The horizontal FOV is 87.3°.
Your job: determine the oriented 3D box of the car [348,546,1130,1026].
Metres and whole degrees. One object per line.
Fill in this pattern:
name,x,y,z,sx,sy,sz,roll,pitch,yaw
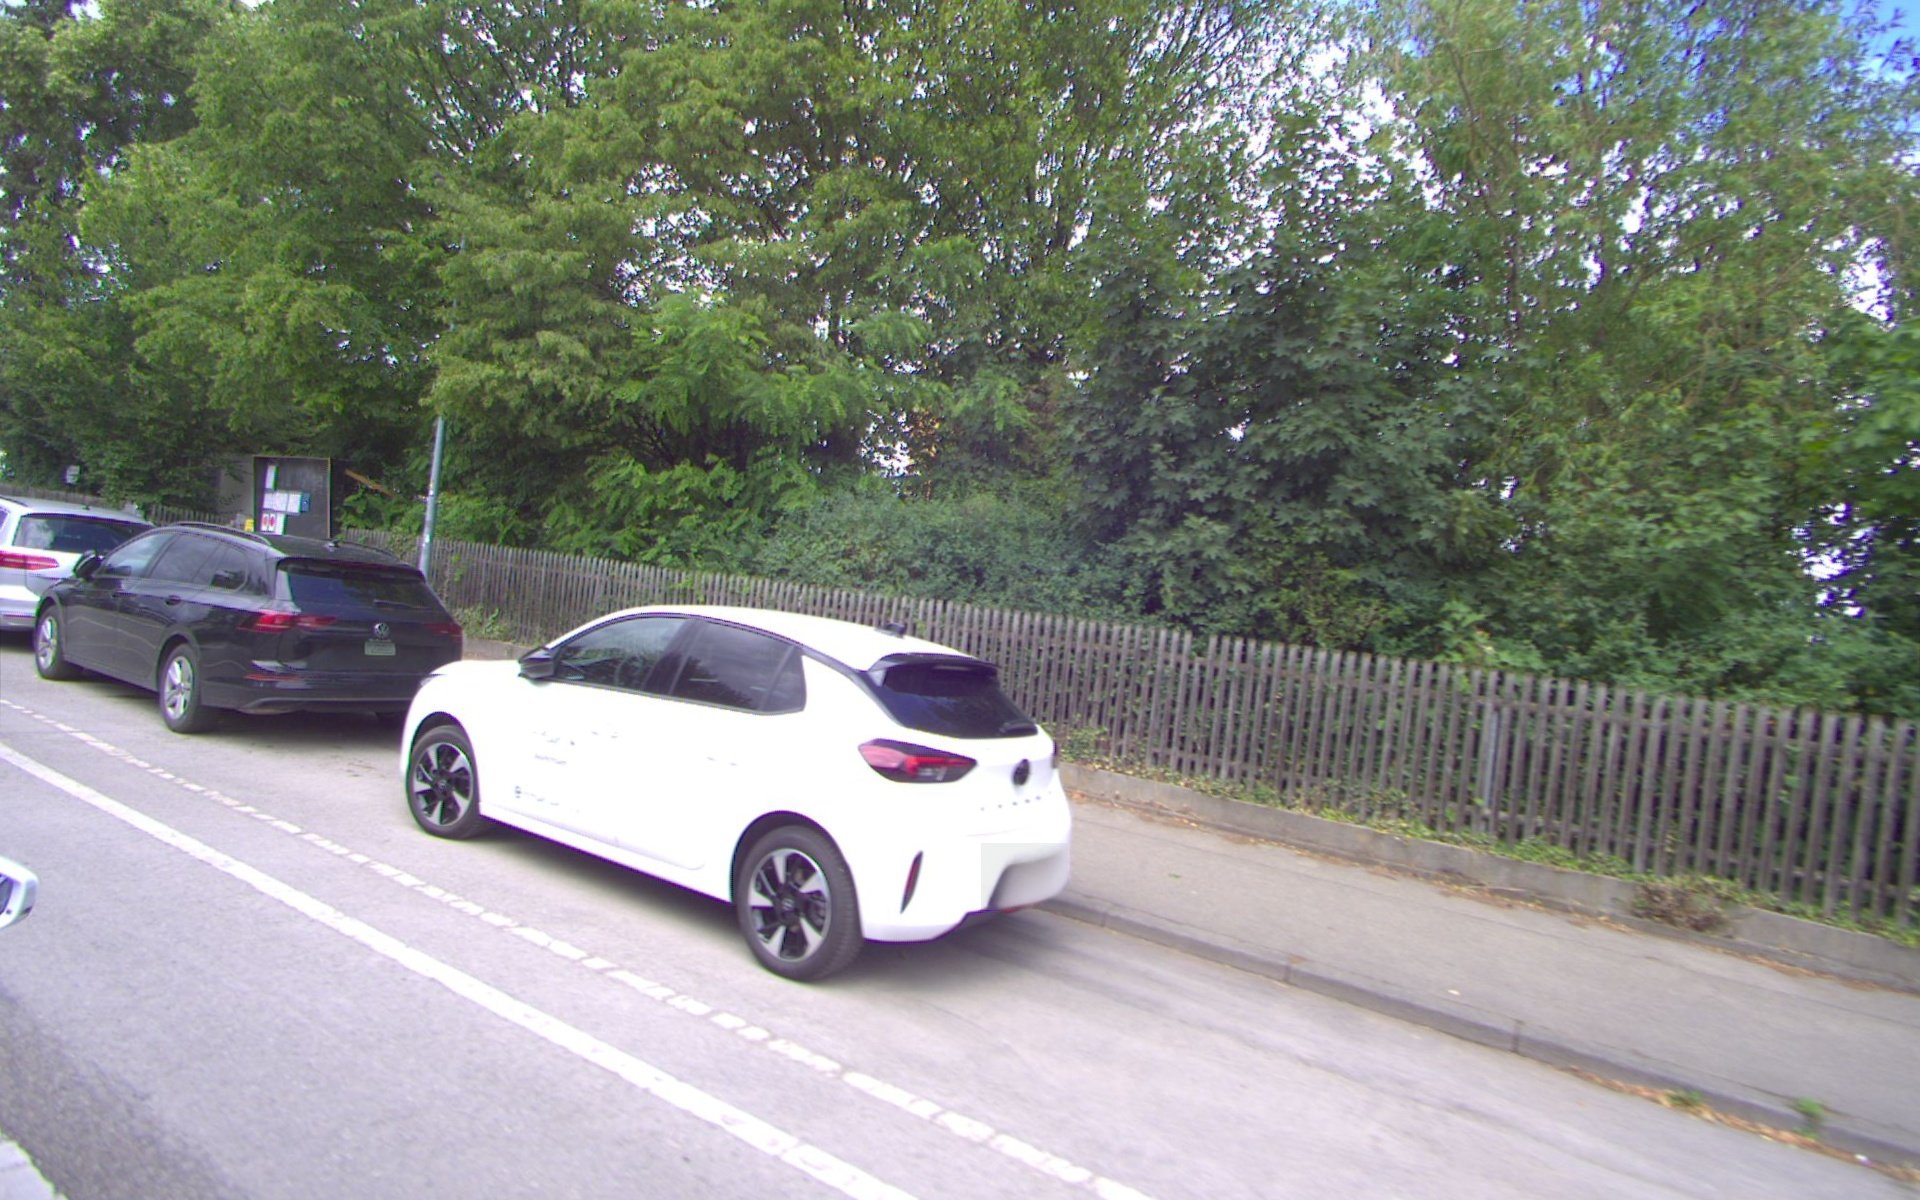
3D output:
car,-1.333,0.704,5.507,3.965,1.528,1.770,6,-1,32

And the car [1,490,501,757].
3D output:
car,-6.060,0.113,8.434,4.462,1.527,1.705,7,-2,32

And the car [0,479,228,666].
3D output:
car,-10.351,-0.412,11.131,4.608,1.629,1.866,6,-2,31
